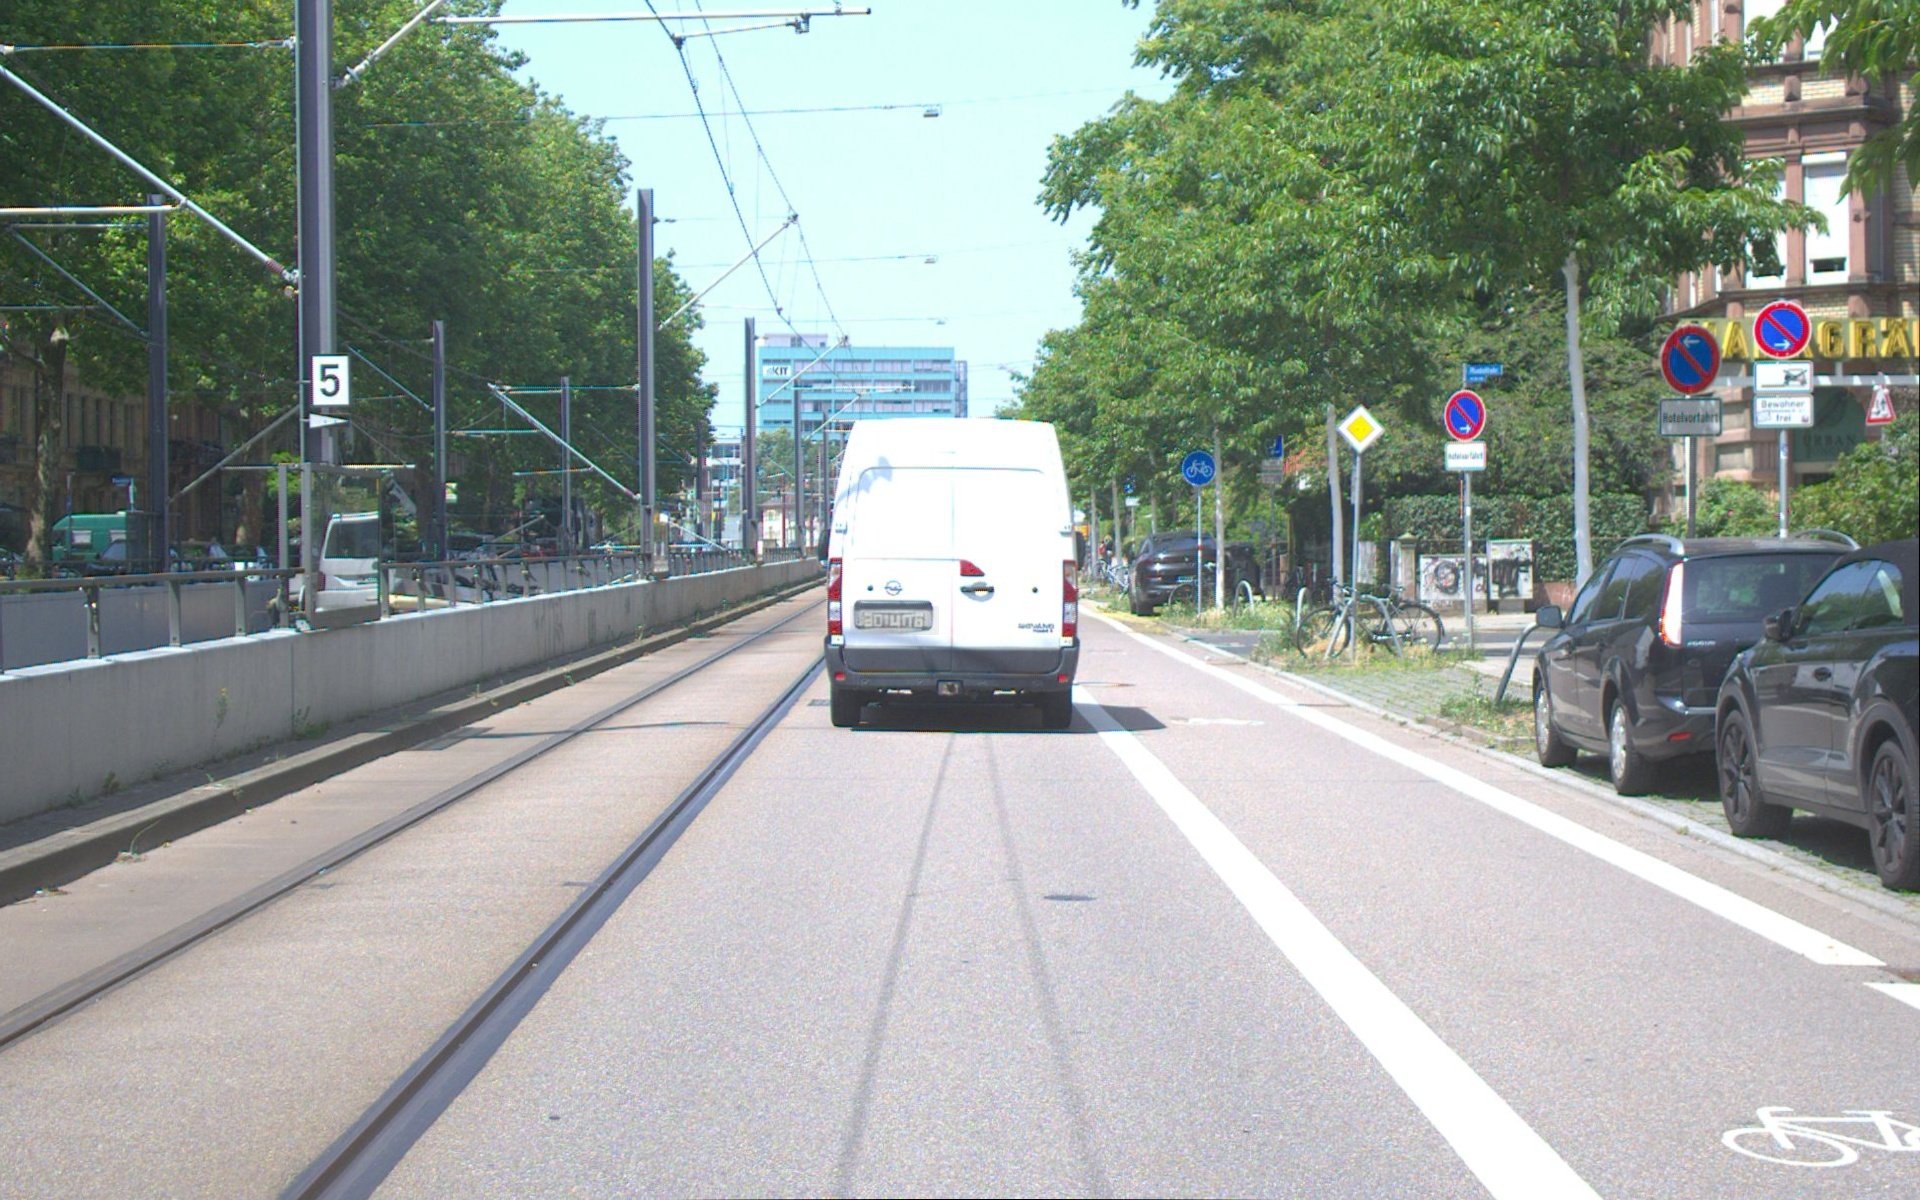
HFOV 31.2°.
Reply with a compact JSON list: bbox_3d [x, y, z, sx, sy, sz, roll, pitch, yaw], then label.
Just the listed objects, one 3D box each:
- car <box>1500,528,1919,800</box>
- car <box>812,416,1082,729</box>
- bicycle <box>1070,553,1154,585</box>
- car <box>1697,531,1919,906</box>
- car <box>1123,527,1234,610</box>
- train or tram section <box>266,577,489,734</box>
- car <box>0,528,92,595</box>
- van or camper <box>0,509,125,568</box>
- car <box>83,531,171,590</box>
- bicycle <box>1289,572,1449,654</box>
[{"bbox_3d":[4.643,0.319,21.629,1.729,1.530,4.405,0,1,-1],"label":"car"},{"bbox_3d":[-0.130,-0.261,29.555,2.117,2.450,5.055,0,1,-1],"label":"car"},{"bbox_3d":[4.046,-0.835,91.147,1.560,0.823,3.998,0,1,13],"label":"bicycle"},{"bbox_3d":[4.718,0.442,16.073,1.667,1.525,4.013,0,1,0],"label":"car"},{"bbox_3d":[4.474,-0.672,70.857,2.157,1.664,4.000,0,1,2],"label":"car"},{"bbox_3d":[-10.307,0.904,61.613,2.729,2.500,8.517,0,1,-1],"label":"train or tram section"},{"bbox_3d":[-20.600,-0.881,76.399,1.592,1.443,4.000,0,1,0],"label":"car"},{"bbox_3d":[-31.193,-2.143,119.349,3.986,2.007,2.000,0,1,-2],"label":"van or camper"},{"bbox_3d":[-20.357,-0.976,84.107,1.373,1.419,3.088,0,1,0],"label":"car"},{"bbox_3d":[4.860,0.152,40.892,1.842,0.950,0.503,0,1,2],"label":"bicycle"}]
